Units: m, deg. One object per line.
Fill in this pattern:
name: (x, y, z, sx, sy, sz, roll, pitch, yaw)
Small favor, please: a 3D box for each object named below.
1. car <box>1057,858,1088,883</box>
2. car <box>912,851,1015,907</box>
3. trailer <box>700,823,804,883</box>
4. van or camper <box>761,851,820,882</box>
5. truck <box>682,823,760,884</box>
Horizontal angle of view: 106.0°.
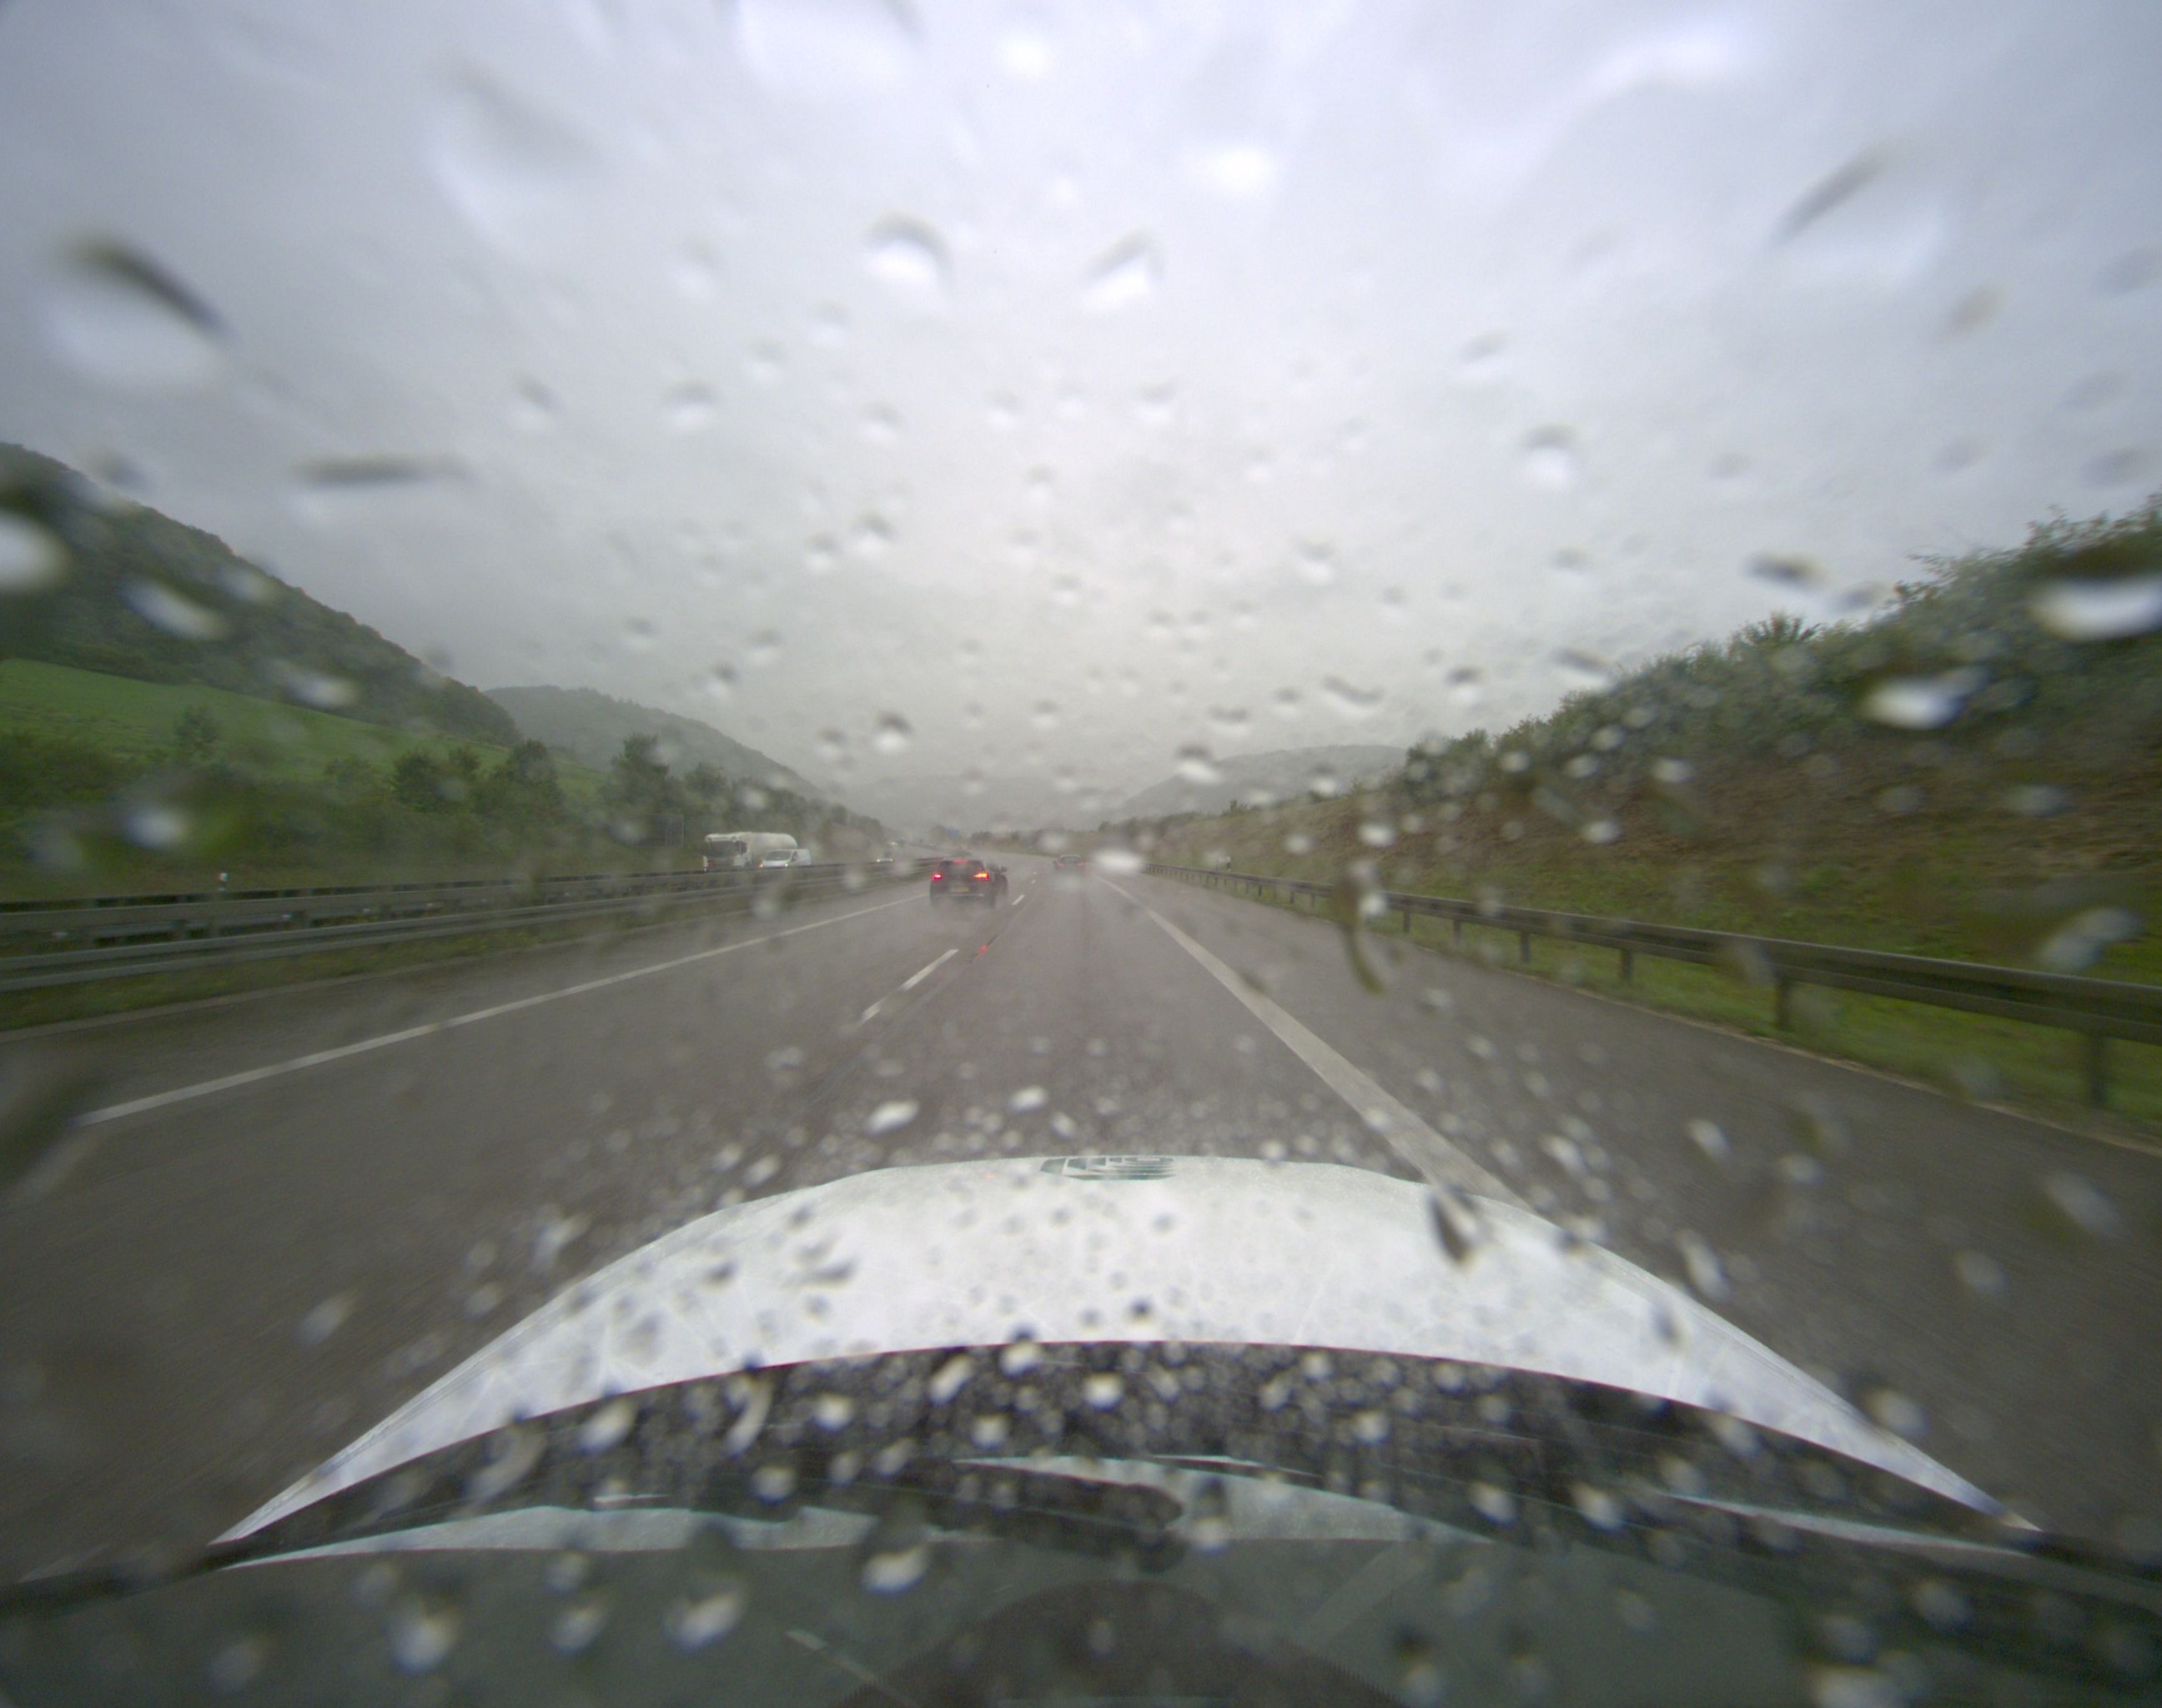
car: (-0.576, 0.968, 49.755, 1.676, 1.472, 3.809, 1, -1, -4)
car: (-3.394, 0.695, 24.568, 2.398, 1.515, 4.783, 0, -1, 0)
trailer: (-23.834, -0.080, 59.980, 2.926, 3.902, 12.556, -1, 0, -2)
van or camper: (-18.629, 0.749, 52.513, 1.988, 1.878, 5.342, -1, 0, -2)
truck: (-23.577, -0.031, 53.626, 2.877, 3.802, 5.310, -1, 0, -3)
